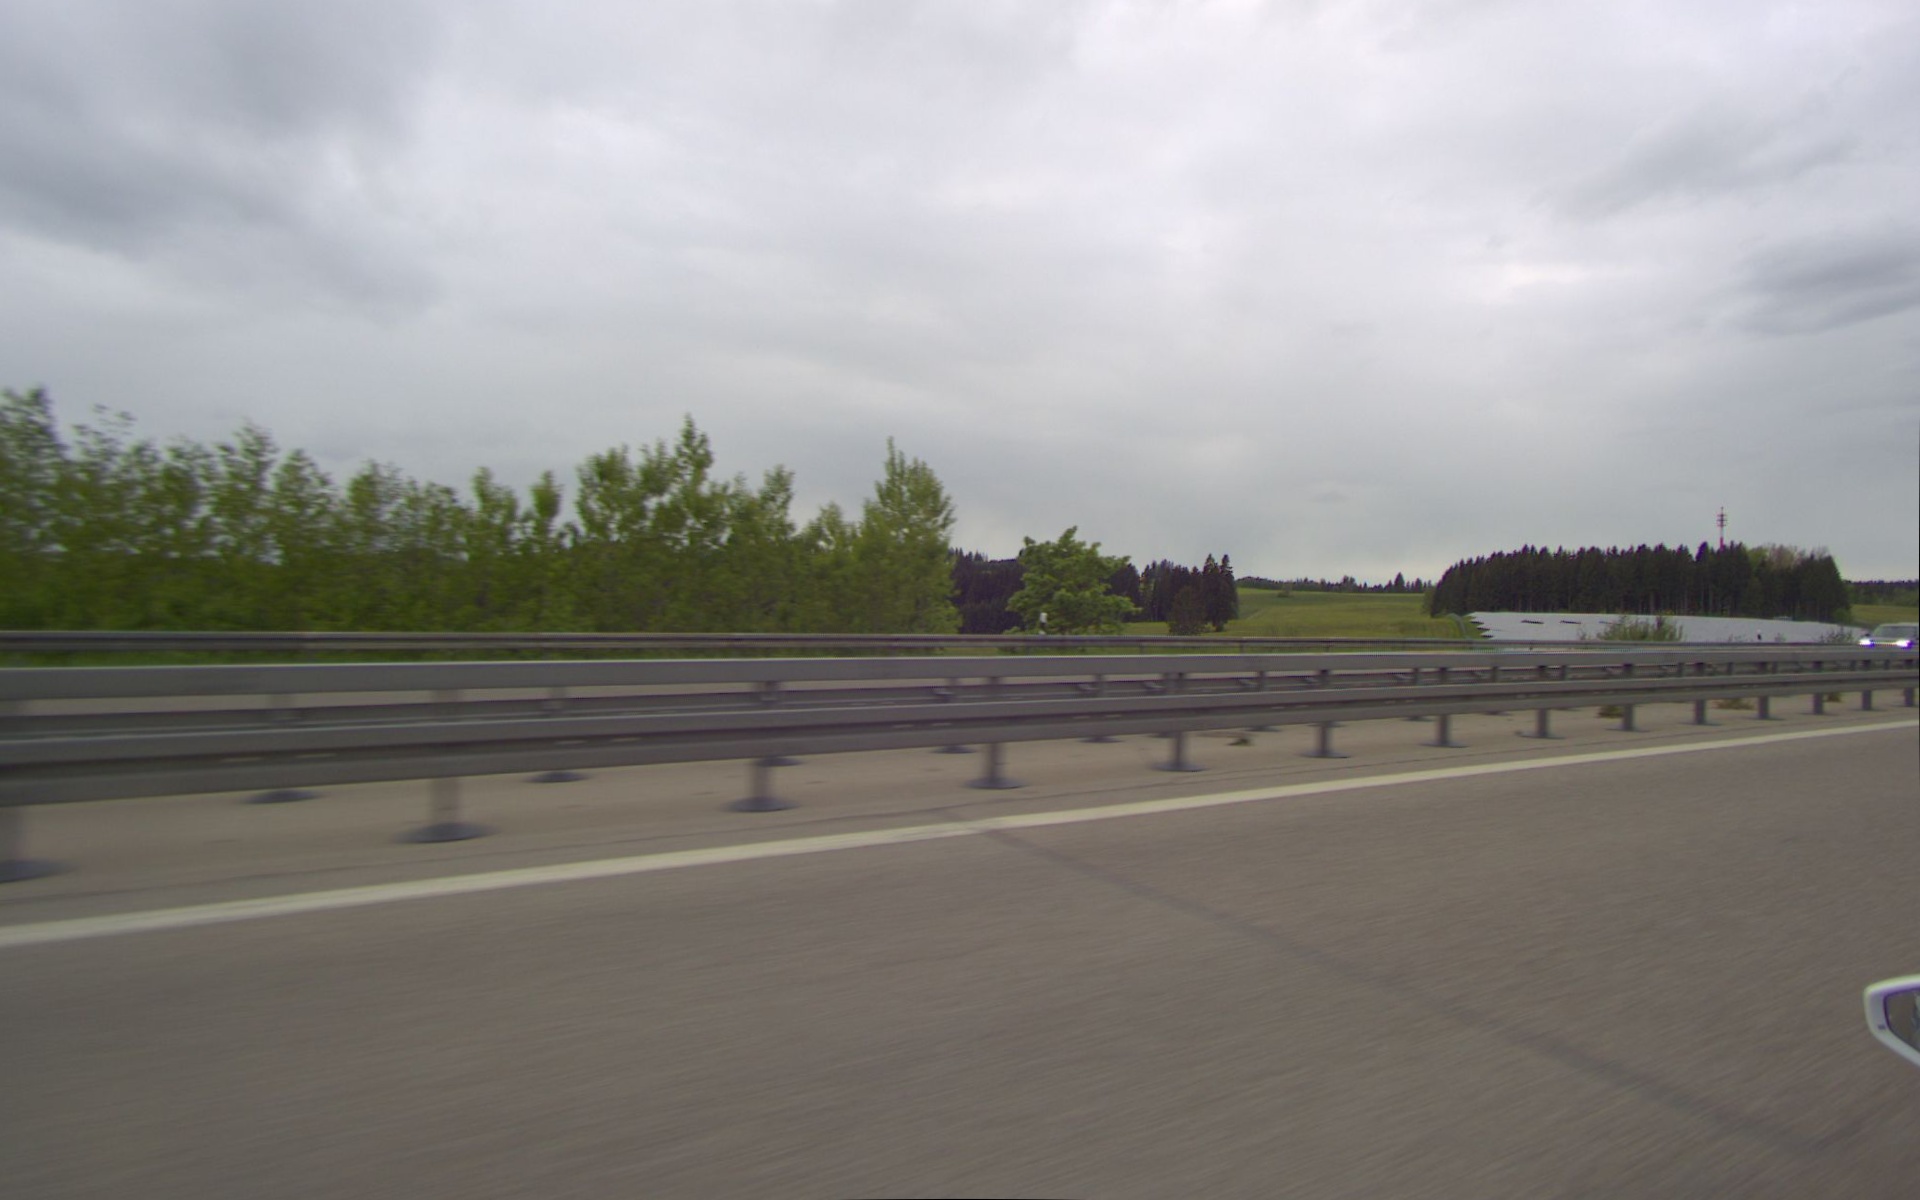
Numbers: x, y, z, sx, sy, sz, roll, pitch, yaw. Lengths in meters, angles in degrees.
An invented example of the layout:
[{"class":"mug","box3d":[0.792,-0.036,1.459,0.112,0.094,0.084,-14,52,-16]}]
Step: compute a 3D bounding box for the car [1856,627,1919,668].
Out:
[{"class":"car","box3d":[40.387,2.028,42.978,4.180,1.634,1.890,2,0,-31]}]
